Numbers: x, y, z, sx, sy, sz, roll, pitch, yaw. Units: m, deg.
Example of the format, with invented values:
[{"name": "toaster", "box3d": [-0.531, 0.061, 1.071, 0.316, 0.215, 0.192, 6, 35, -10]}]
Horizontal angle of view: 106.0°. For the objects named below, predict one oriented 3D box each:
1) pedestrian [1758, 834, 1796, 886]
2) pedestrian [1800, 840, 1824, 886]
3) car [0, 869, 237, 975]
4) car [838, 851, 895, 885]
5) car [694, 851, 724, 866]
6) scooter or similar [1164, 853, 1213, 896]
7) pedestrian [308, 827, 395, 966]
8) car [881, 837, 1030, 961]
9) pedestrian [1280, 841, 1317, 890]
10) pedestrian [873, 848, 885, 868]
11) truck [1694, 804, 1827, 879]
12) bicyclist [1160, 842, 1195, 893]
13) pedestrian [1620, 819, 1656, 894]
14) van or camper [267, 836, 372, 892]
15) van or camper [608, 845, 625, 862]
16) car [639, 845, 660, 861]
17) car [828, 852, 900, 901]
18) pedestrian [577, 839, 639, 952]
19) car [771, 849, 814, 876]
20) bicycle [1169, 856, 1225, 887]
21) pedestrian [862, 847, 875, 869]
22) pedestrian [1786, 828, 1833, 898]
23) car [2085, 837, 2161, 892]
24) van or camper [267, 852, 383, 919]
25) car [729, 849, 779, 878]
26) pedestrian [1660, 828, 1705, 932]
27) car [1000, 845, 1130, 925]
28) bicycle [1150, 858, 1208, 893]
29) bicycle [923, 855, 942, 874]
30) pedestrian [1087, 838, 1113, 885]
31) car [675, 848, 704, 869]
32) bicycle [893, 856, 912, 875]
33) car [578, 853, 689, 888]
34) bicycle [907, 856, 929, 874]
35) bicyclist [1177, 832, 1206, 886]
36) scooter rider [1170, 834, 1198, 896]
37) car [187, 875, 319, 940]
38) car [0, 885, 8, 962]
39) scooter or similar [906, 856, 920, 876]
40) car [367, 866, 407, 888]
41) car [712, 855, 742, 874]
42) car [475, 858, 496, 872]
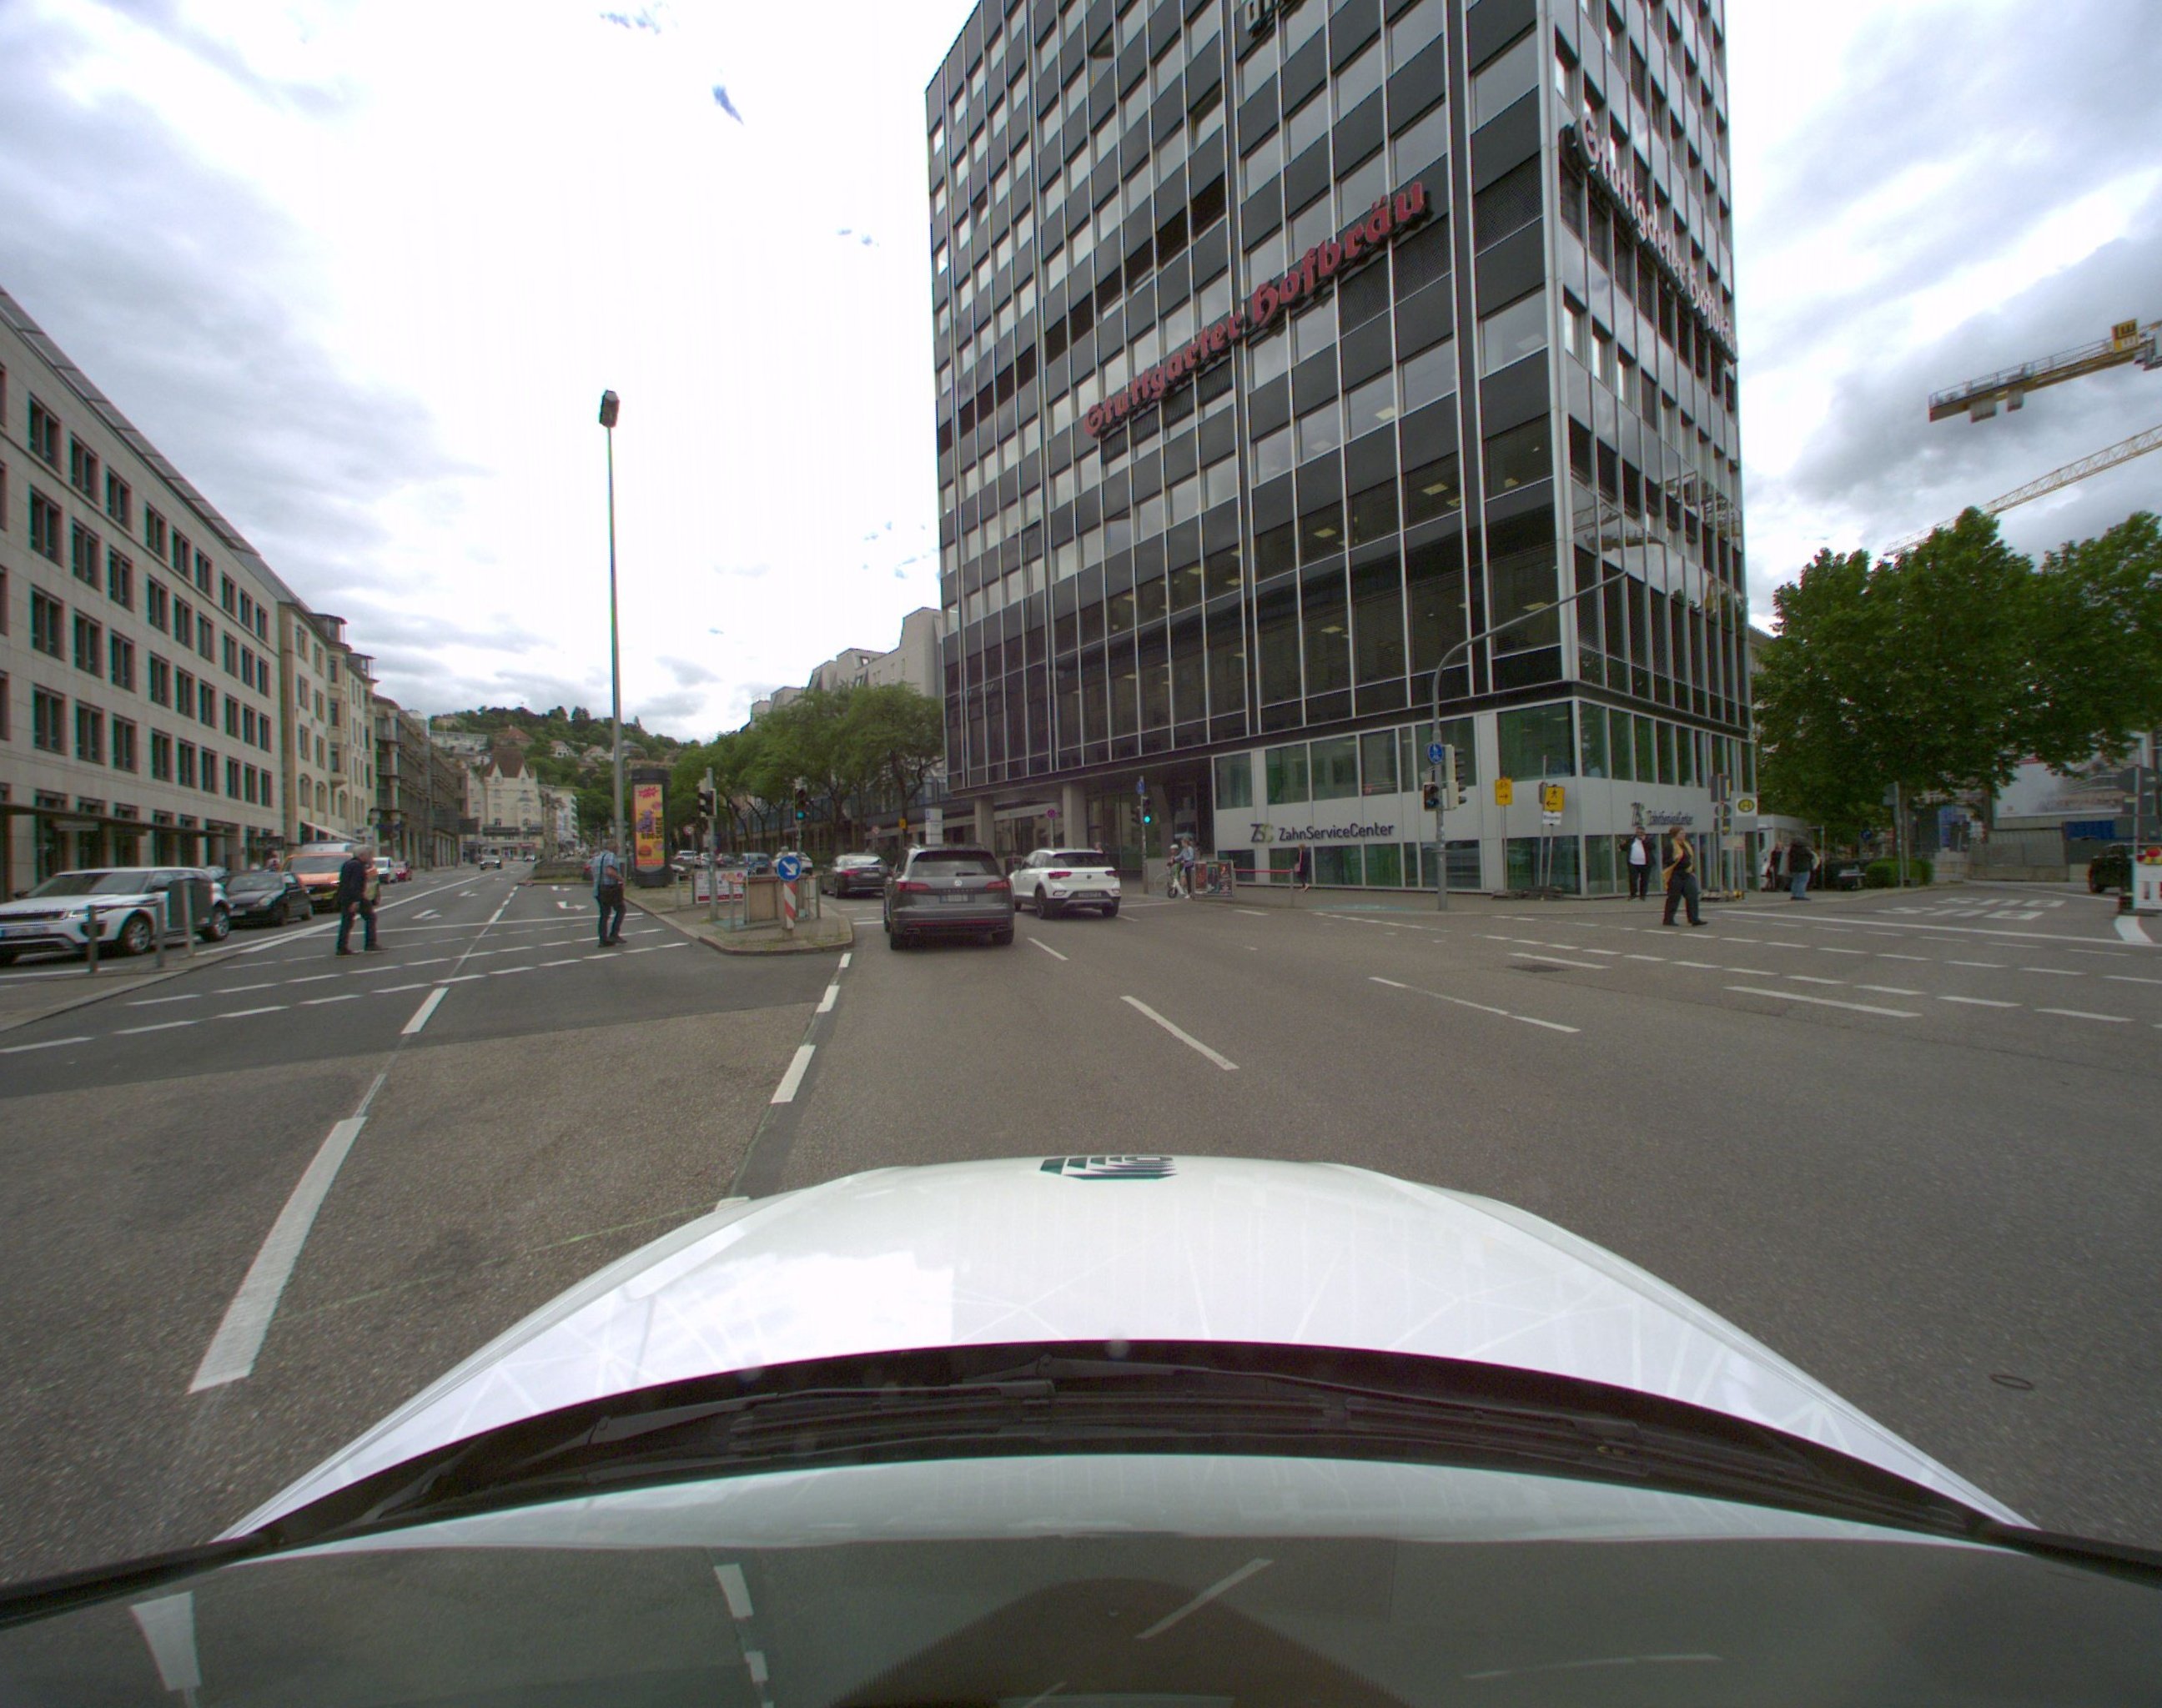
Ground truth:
[{"name": "pedestrian", "box3d": [24.299, 0.210, 28.435, 0.852, 1.746, 0.864, -2, 0, -42]}, {"name": "pedestrian", "box3d": [24.907, 0.301, 27.741, 0.557, 1.534, 0.512, -2, 0, -42]}, {"name": "car", "box3d": [-18.093, 1.151, 15.240, 1.743, 1.598, 4.282, -2, 1, -26]}, {"name": "car", "box3d": [-10.446, 0.628, 39.479, 1.843, 1.432, 4.112, -1, 1, -27]}, {"name": "car", "box3d": [-36.677, 0.440, 80.157, 2.070, 1.418, 4.289, -3, 1, -32]}, {"name": "scooter or similar", "box3d": [3.202, 0.605, 24.195, 1.309, 1.176, 0.596, -3, 0, 15]}, {"name": "pedestrian", "box3d": [-11.959, 0.662, 13.356, 0.753, 2.172, 0.884, -2, 1, 39]}, {"name": "car", "box3d": [-2.299, 0.612, 13.927, 1.974, 1.695, 4.202, -3, 1, -16]}, {"name": "pedestrian", "box3d": [6.643, 0.344, 24.909, 0.609, 1.442, 0.829, -3, 1, -38]}, {"name": "pedestrian", "box3d": [-16.511, 0.302, 66.521, 0.600, 1.628, 0.749, -3, 1, -39]}, {"name": "truck", "box3d": [30.430, -0.566, 36.341, 8.232, 3.063, 2.321, -1, 0, -34]}, {"name": "bicyclist", "box3d": [3.028, 0.435, 25.535, 0.835, 1.549, 0.569, -3, 0, 28]}, {"name": "pedestrian", "box3d": [13.264, 0.058, 19.389, 0.629, 1.748, 0.594, -1, 1, 40]}, {"name": "van or camper", "box3d": [-40.769, 0.483, 43.832, 3.023, 2.726, 6.181, -2, 1, -33]}, {"name": "van or camper", "box3d": [-94.348, -0.103, 165.383, 2.646, 3.178, 5.743, -2, 1, -33]}, {"name": "car", "box3d": [-52.273, -0.088, 98.707, 1.845, 1.874, 4.821, -3, 1, -32]}, {"name": "car", "box3d": [-7.388, 0.694, 27.510, 1.841, 1.395, 4.117, -1, 1, -22]}, {"name": "pedestrian", "box3d": [-8.000, 0.672, 13.772, 0.721, 1.790, 0.628, -6, 4, -34]}, {"name": "car", "box3d": [-17.900, 0.518, 50.463, 1.844, 1.517, 3.731, -3, 1, -30]}, {"name": "bicycle", "box3d": [4.012, 0.608, 28.131, 1.746, 1.007, 0.684, -2, 0, 21]}, {"name": "pedestrian", "box3d": [-17.222, 0.291, 65.913, 0.600, 1.753, 0.930, -3, 1, -39]}, {"name": "pedestrian", "box3d": [17.950, 0.205, 20.080, 0.590, 1.678, 0.633, -2, 0, -18]}, {"name": "car", "box3d": [34.681, 0.296, 26.129, 1.974, 1.578, 4.026, -2, 1, 33]}, {"name": "van or camper", "box3d": [-25.030, 0.962, 27.156, 1.927, 1.921, 5.030, -4, 2, -33]}, {"name": "car", "box3d": [-18.598, 0.528, 46.278, 1.845, 1.517, 3.727, -3, 1, -34]}, {"name": "pedestrian", "box3d": [10.236, 0.417, 13.849, 0.541, 1.697, 0.807, -2, 1, 38]}, {"name": "car", "box3d": [-0.504, 0.621, 19.148, 1.804, 1.545, 3.908, -3, 2, -21]}, {"name": "bicycle", "box3d": [3.062, 0.679, 25.529, 1.648, 1.027, 0.585, -3, 0, 28]}, {"name": "bicycle", "box3d": [-9.290, 0.653, 50.920, 0.493, 1.132, 1.671, -2, 0, -32]}, {"name": "pedestrian", "box3d": [0.704, 0.297, 30.841, 0.529, 1.711, 0.744, -4, 0, -39]}, {"name": "car", "box3d": [-31.730, 0.366, 65.986, 1.844, 1.566, 3.731, -3, 1, -30]}, {"name": "bicycle", "box3d": [-10.992, 0.714, 50.094, 0.493, 1.132, 1.824, -2, 0, -34]}, {"name": "car", "box3d": [-21.547, 0.763, 39.459, 4.573, 1.458, 1.865, -2, 0, -26]}, {"name": "bicycle", "box3d": [-10.131, 0.687, 50.568, 0.493, 1.132, 1.865, -2, 0, -39]}, {"name": "bicyclist", "box3d": [3.830, 0.173, 28.178, 0.804, 1.845, 0.679, -2, 0, 21]}, {"name": "scooter rider", "box3d": [3.065, 0.320, 24.223, 0.636, 1.808, 0.596, -3, 0, 15]}, {"name": "car", "box3d": [-21.580, 1.331, 21.380, 1.567, 1.379, 3.596, -4, 2, -32]}, {"name": "car", "box3d": [-21.498, 1.410, 14.186, 2.007, 1.525, 4.050, -2, 1, -32]}, {"name": "scooter or similar", "box3d": [-10.324, 0.737, 50.037, 0.984, 1.251, 0.308, -1, 0, 44]}, {"name": "car", "box3d": [-50.138, 1.629, 58.871, 1.801, 1.405, 3.544, -2, 1, -35]}, {"name": "car", "box3d": [-29.100, 0.842, 66.886, 1.843, 1.363, 3.732, -3, 1, -28]}, {"name": "car", "box3d": [-69.524, 1.304, 95.063, 1.933, 1.527, 4.491, -2, 1, -37]}]
